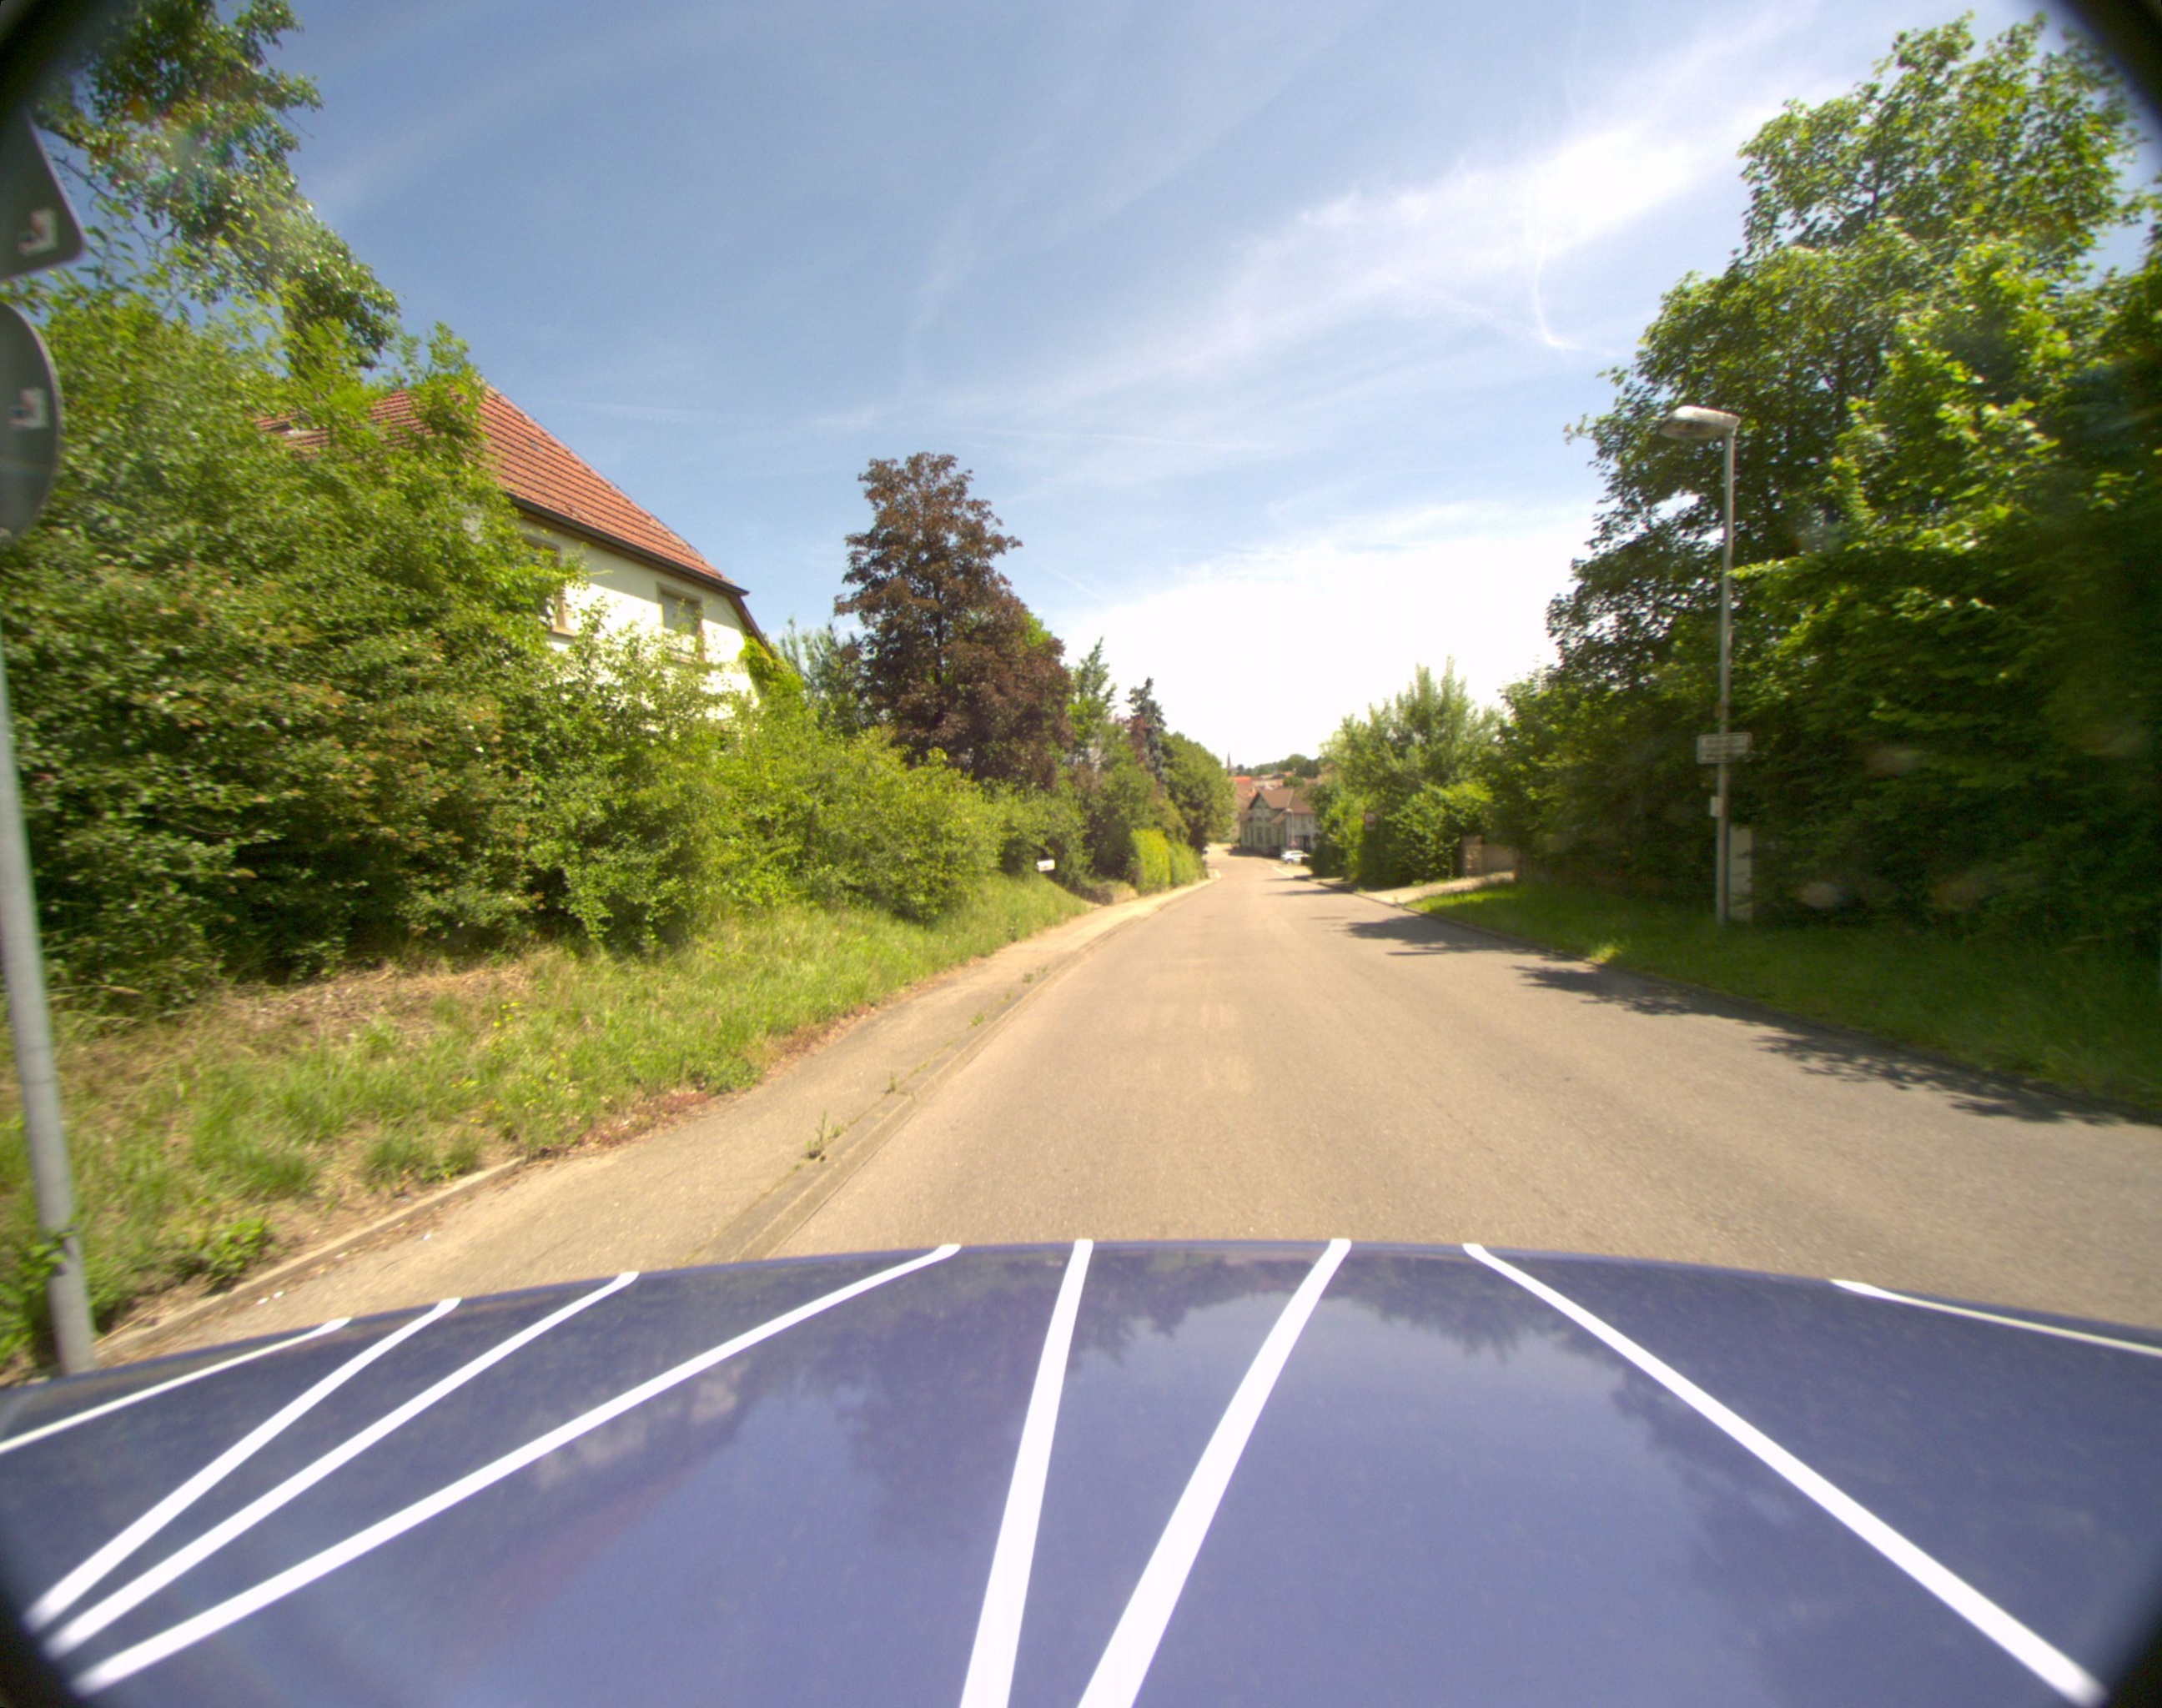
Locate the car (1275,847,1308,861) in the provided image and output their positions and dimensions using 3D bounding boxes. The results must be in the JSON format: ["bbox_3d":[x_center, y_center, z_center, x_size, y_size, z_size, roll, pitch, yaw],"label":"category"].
[{"bbox_3d":[25.609,0.009,92.538,3.580,1.377,1.515,-6,2,1],"label":"car"}]
